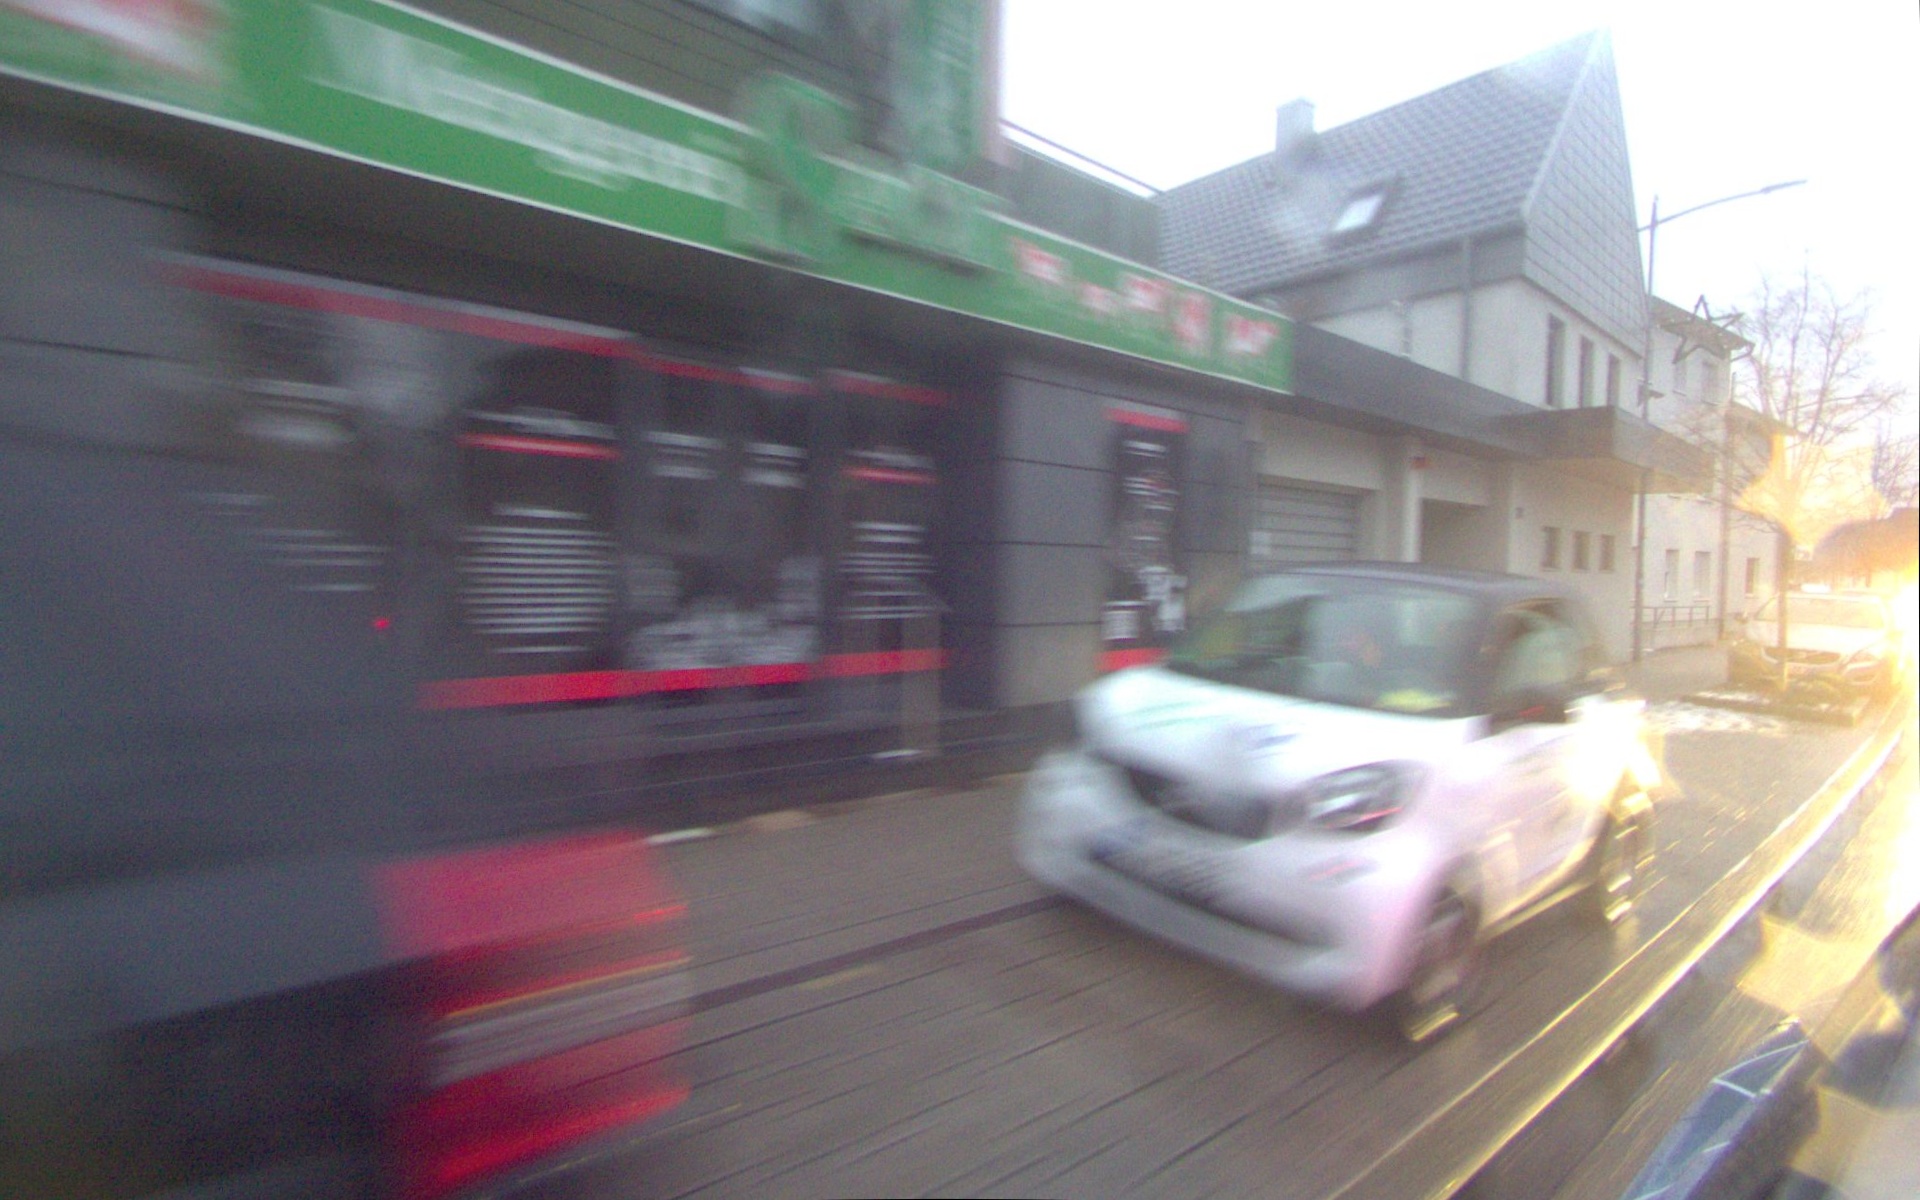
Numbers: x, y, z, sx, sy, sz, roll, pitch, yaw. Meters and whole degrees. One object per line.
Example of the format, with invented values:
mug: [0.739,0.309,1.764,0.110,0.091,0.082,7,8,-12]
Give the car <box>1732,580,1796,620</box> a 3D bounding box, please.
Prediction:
car: [34.911,-0.040,44.037,1.801,1.571,4.253,3,3,34]

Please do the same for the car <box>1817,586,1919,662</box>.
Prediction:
car: [20.791,0.469,22.865,1.956,1.552,4.931,0,0,43]

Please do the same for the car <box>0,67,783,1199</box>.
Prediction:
car: [-2.323,0.437,0.651,3.926,1.803,1.776,0,5,-37]

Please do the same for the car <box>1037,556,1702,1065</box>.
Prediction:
car: [1.899,0.609,4.499,2.680,1.432,1.649,0,4,-42]

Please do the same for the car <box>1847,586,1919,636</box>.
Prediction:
car: [30.817,0.322,33.787,1.702,1.469,4.129,4,3,41]

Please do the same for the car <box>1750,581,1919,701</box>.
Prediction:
car: [13.420,0.509,15.364,4.169,1.472,1.654,-1,5,-45]

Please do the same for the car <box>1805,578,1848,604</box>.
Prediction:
car: [65.088,-0.706,76.094,1.905,1.812,4.509,3,2,35]

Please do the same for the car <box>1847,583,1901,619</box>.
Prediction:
car: [43.757,0.005,48.479,1.807,1.583,4.239,3,3,42]

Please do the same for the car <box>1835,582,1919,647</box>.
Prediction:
car: [25.326,0.322,27.880,1.664,1.595,4.427,3,3,43]
